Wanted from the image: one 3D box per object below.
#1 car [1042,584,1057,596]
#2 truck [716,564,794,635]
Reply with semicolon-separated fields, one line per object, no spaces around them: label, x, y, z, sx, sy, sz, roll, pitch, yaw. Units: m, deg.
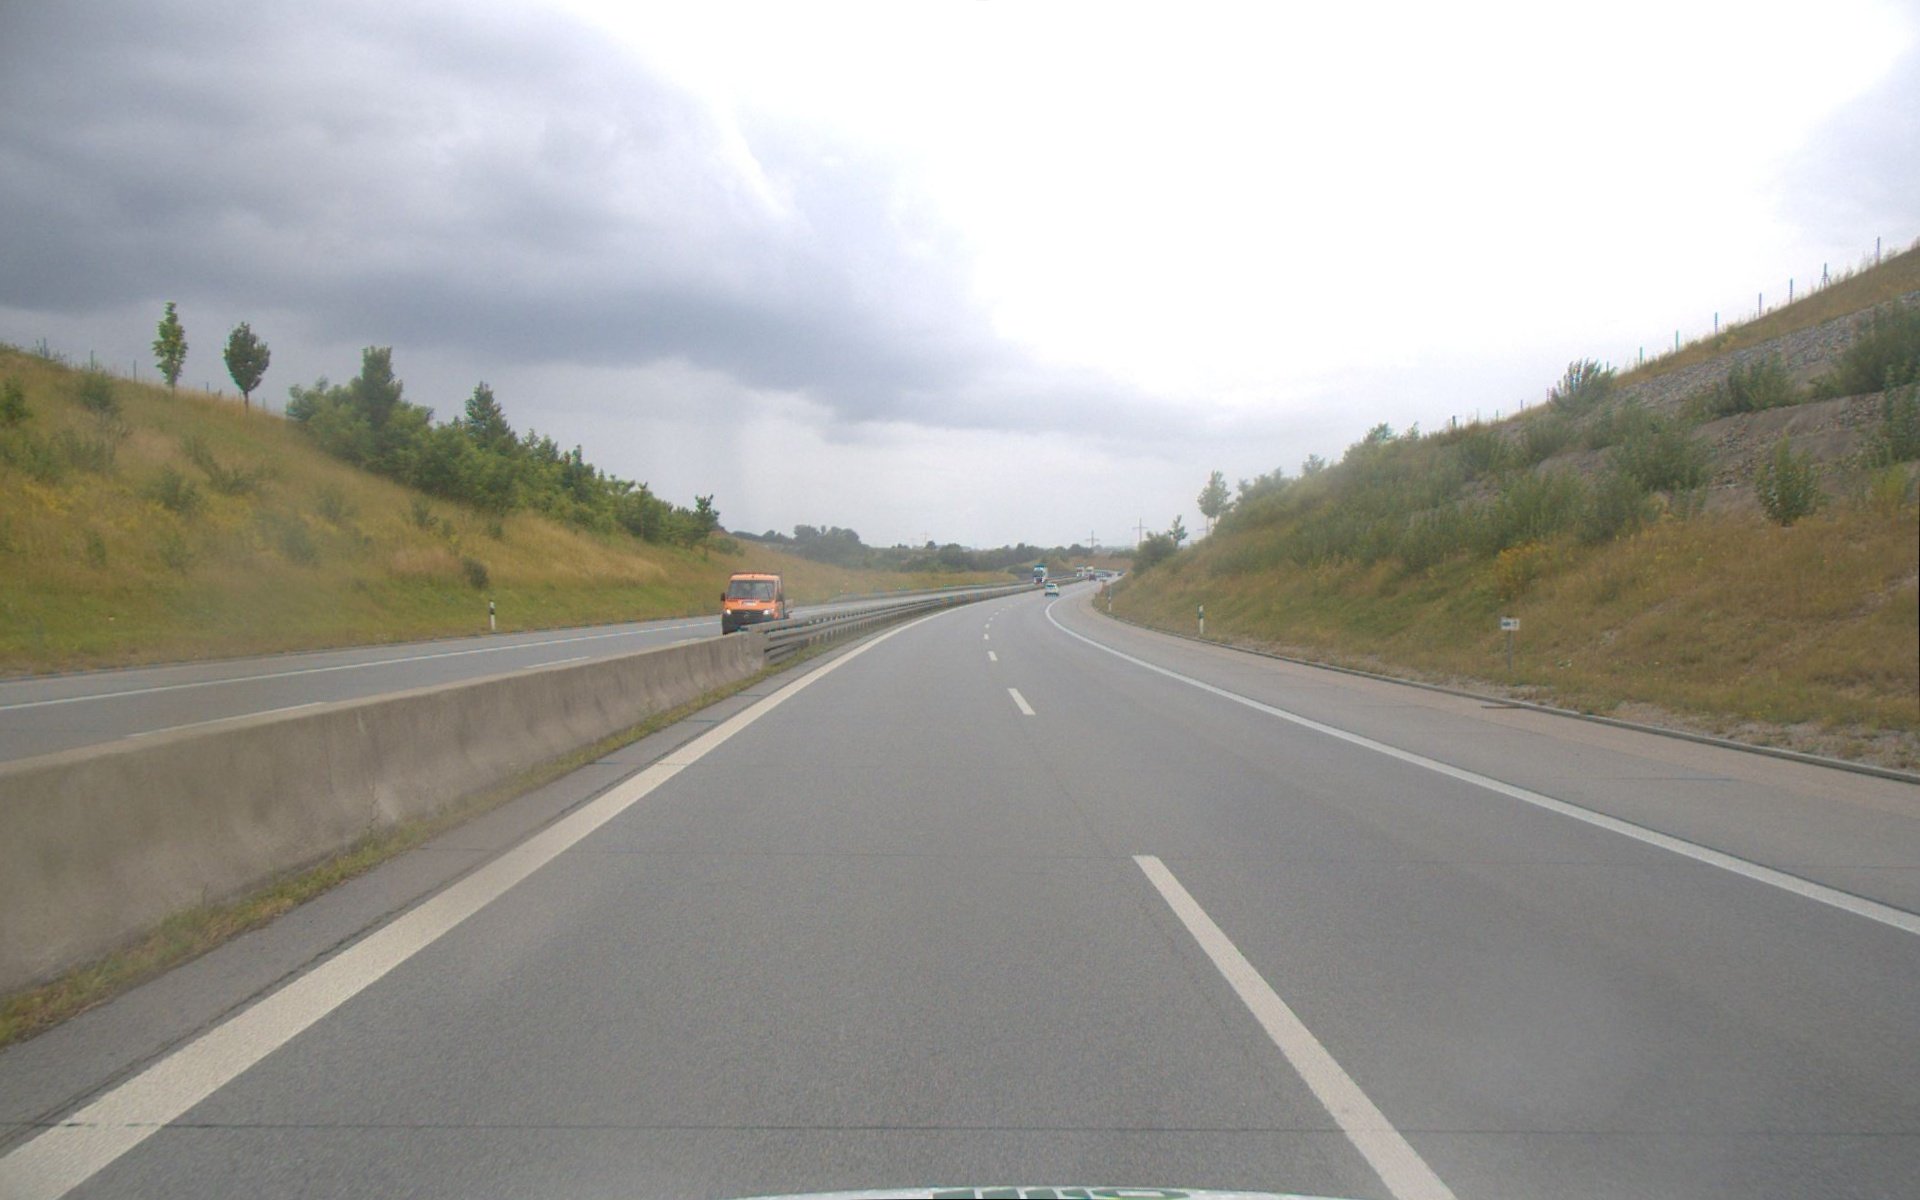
car;12.148;-1.346;224.138;1.915;1.680;4.002;0;0;5
truck;-7.638;-0.031;62.334;2.146;2.553;6.553;0;0;0
